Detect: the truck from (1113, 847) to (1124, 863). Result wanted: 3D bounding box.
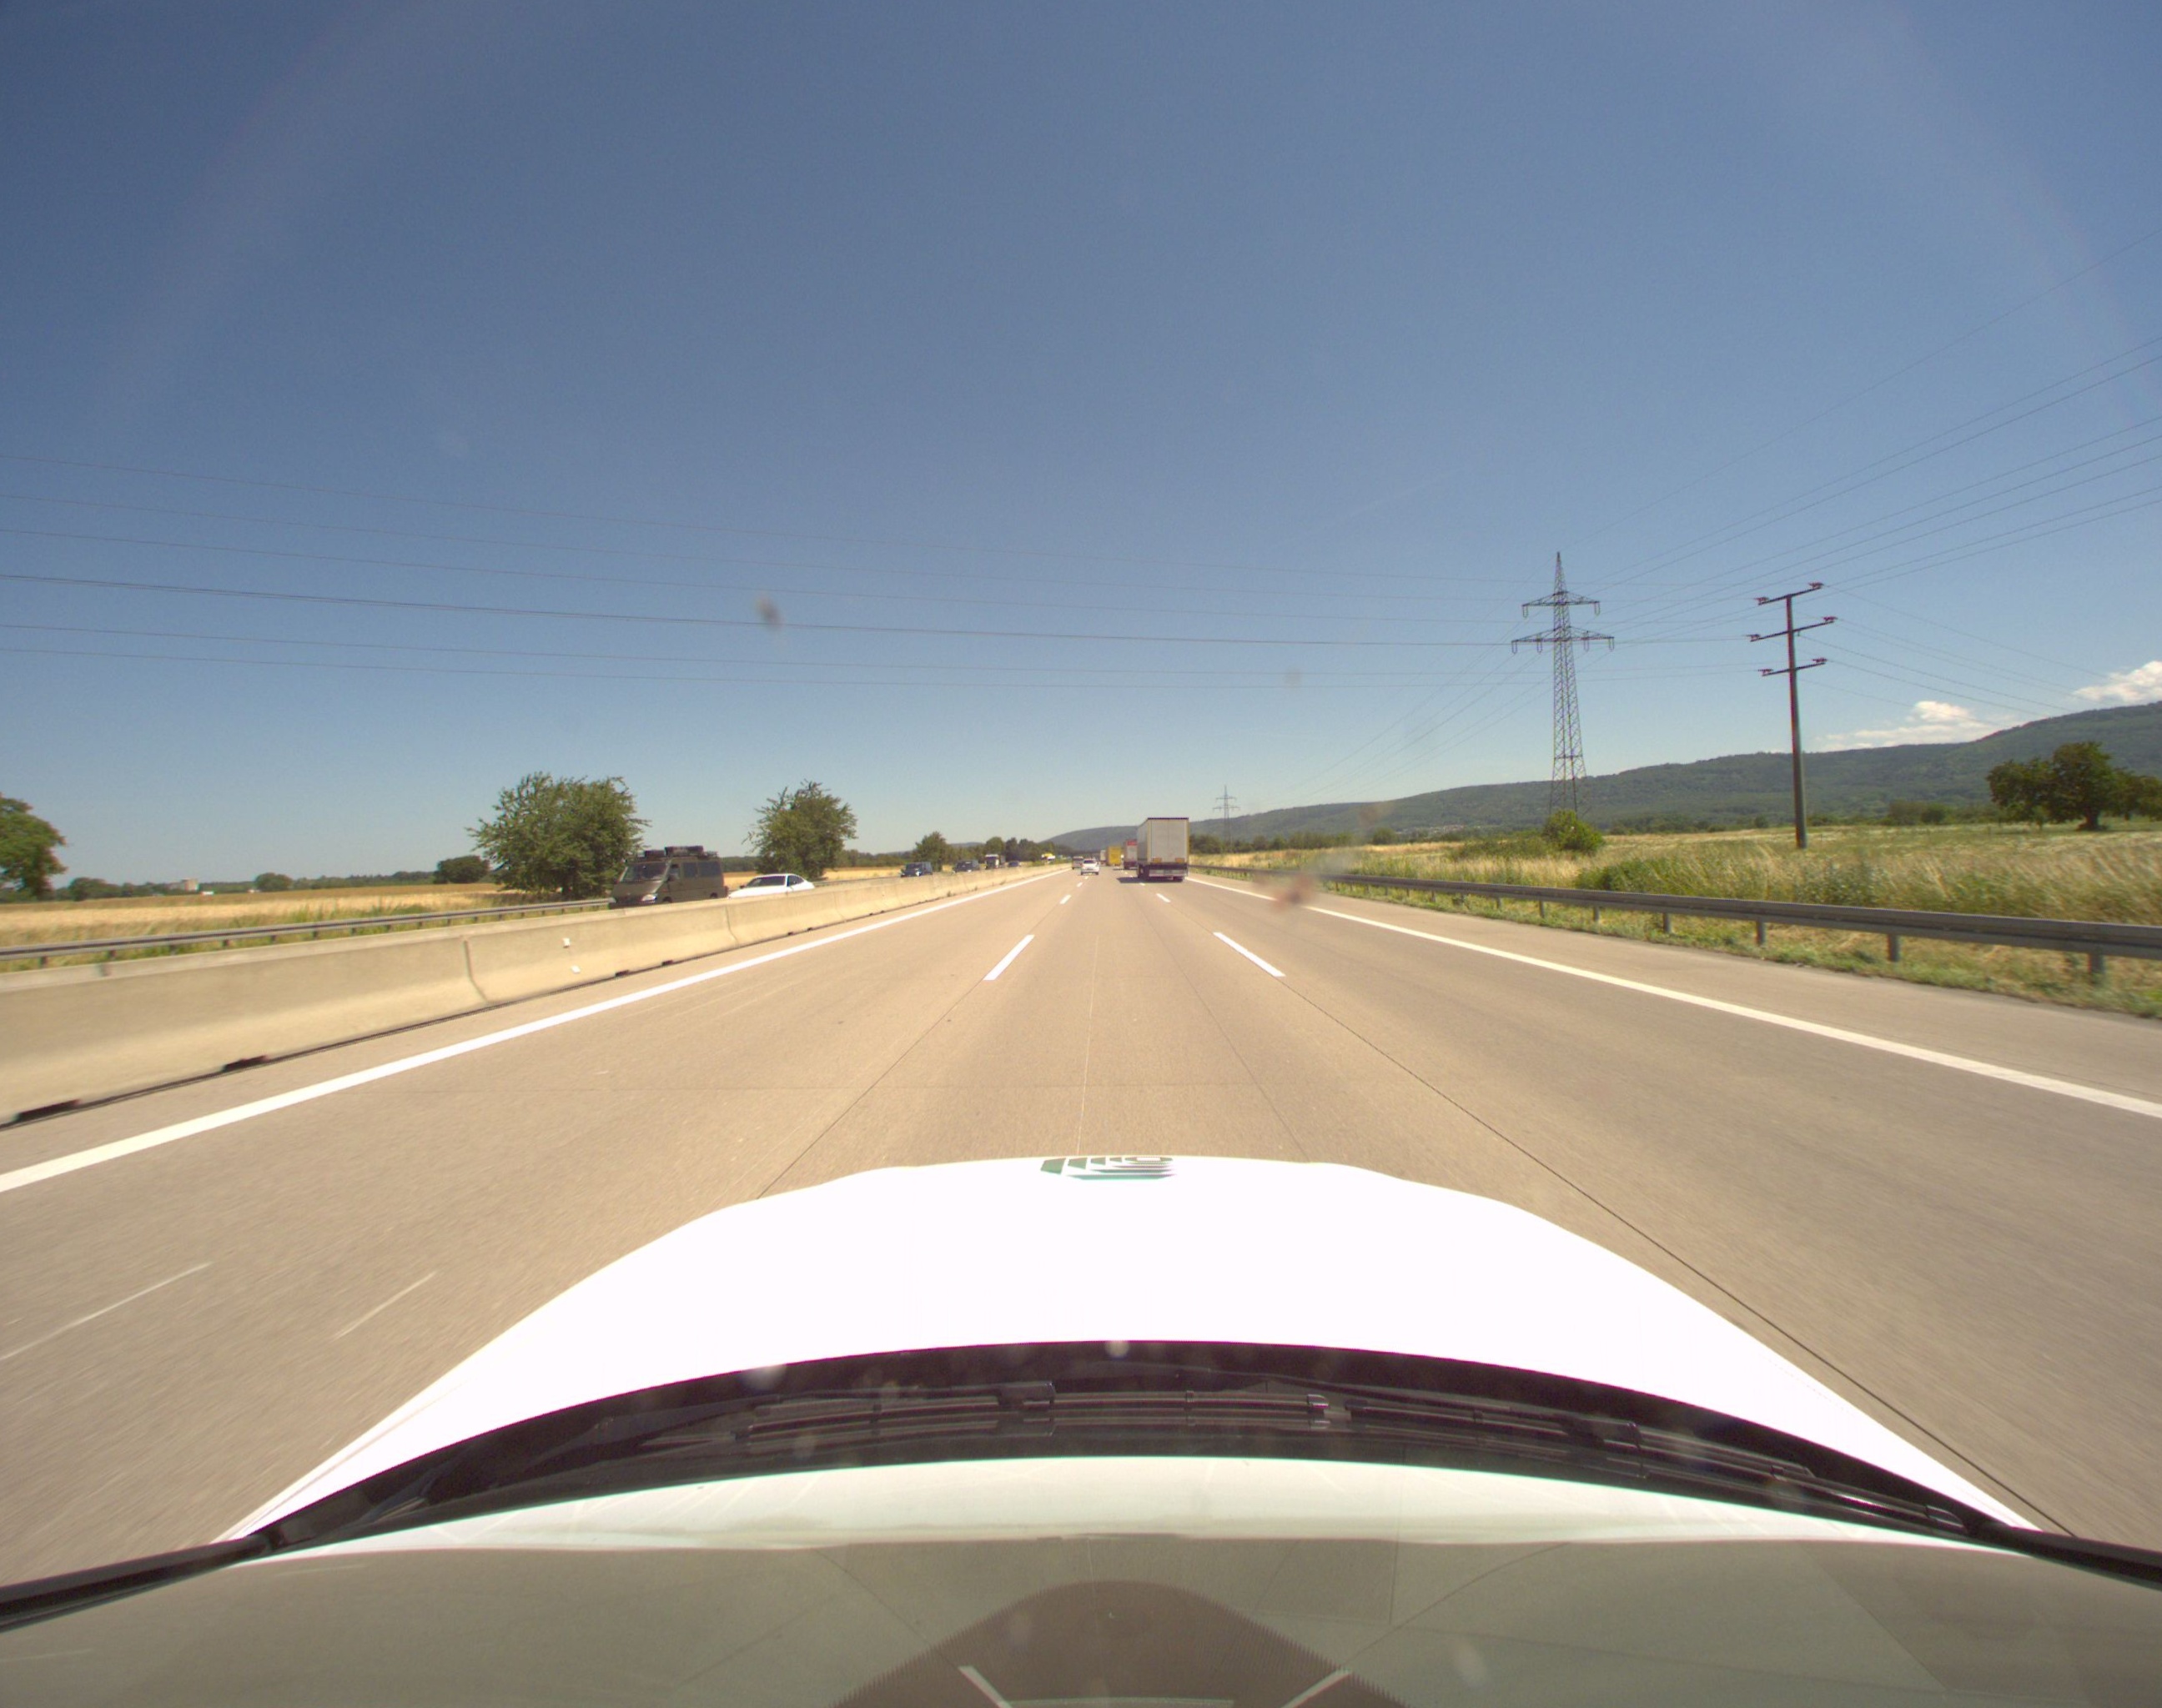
[{"bbox_3d":[10.131,0.328,220.044,2.988,4.314,9.687,0,0,2],"label":"truck"}]

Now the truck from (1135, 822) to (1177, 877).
[{"bbox_3d":[5.828,-0.330,63.843,2.972,4.062,5.481,0,0,2],"label":"truck"}]

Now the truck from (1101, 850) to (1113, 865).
[{"bbox_3d":[7.345,0.939,231.647,3.340,4.272,8.232,0,0,2],"label":"truck"}]

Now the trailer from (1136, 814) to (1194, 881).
[{"bbox_3d":[5.568,-0.358,56.439,3.006,4.061,14.213,0,0,2],"label":"trailer"}]

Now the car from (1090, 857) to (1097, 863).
[{"bbox_3d":[3.654,1.746,235.289,1.777,1.881,4.002,0,0,2],"label":"car"}]

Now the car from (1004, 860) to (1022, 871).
[{"bbox_3d":[-9.295,1.575,111.082,1.986,1.448,4.683,0,0,1],"label":"car"}]

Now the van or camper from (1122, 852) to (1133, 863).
[{"bbox_3d":[10.979,0.861,192.417,2.216,2.531,5.432,0,0,1],"label":"van or camper"}]

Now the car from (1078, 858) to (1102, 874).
[{"bbox_3d":[0.889,1.145,78.797,2.098,1.536,4.125,0,0,3],"label":"car"}]

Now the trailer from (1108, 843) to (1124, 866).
[{"bbox_3d":[7.371,0.128,173.733,3.203,4.564,13.462,0,0,2],"label":"trailer"}]

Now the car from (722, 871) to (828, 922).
[{"bbox_3d":[-11.138,1.494,30.093,1.866,1.652,5.109,0,0,1],"label":"car"}]

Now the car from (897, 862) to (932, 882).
[{"bbox_3d":[-15.078,1.607,73.975,2.161,1.790,4.002,0,0,2],"label":"car"}]

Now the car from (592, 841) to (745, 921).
[{"bbox_3d":[-15.820,0.967,31.831,2.239,2.786,6.796,0,0,3],"label":"car"}]

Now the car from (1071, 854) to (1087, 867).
[{"bbox_3d":[-0.218,1.001,124.453,2.246,2.014,4.300,0,0,2],"label":"car"}]

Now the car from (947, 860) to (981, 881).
[{"bbox_3d":[-10.606,1.476,74.031,1.985,1.826,5.829,0,0,3],"label":"car"}]

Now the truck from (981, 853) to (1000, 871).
[{"bbox_3d":[-16.855,1.475,151.752,2.796,3.305,5.615,0,0,1],"label":"truck"}]

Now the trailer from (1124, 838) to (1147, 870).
[{"bbox_3d":[7.432,0.045,112.663,2.862,4.101,13.520,0,0,3],"label":"trailer"}]

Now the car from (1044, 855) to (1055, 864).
[{"bbox_3d":[-7.365,1.347,191.951,2.202,2.188,6.327,0,0,1],"label":"car"}]
